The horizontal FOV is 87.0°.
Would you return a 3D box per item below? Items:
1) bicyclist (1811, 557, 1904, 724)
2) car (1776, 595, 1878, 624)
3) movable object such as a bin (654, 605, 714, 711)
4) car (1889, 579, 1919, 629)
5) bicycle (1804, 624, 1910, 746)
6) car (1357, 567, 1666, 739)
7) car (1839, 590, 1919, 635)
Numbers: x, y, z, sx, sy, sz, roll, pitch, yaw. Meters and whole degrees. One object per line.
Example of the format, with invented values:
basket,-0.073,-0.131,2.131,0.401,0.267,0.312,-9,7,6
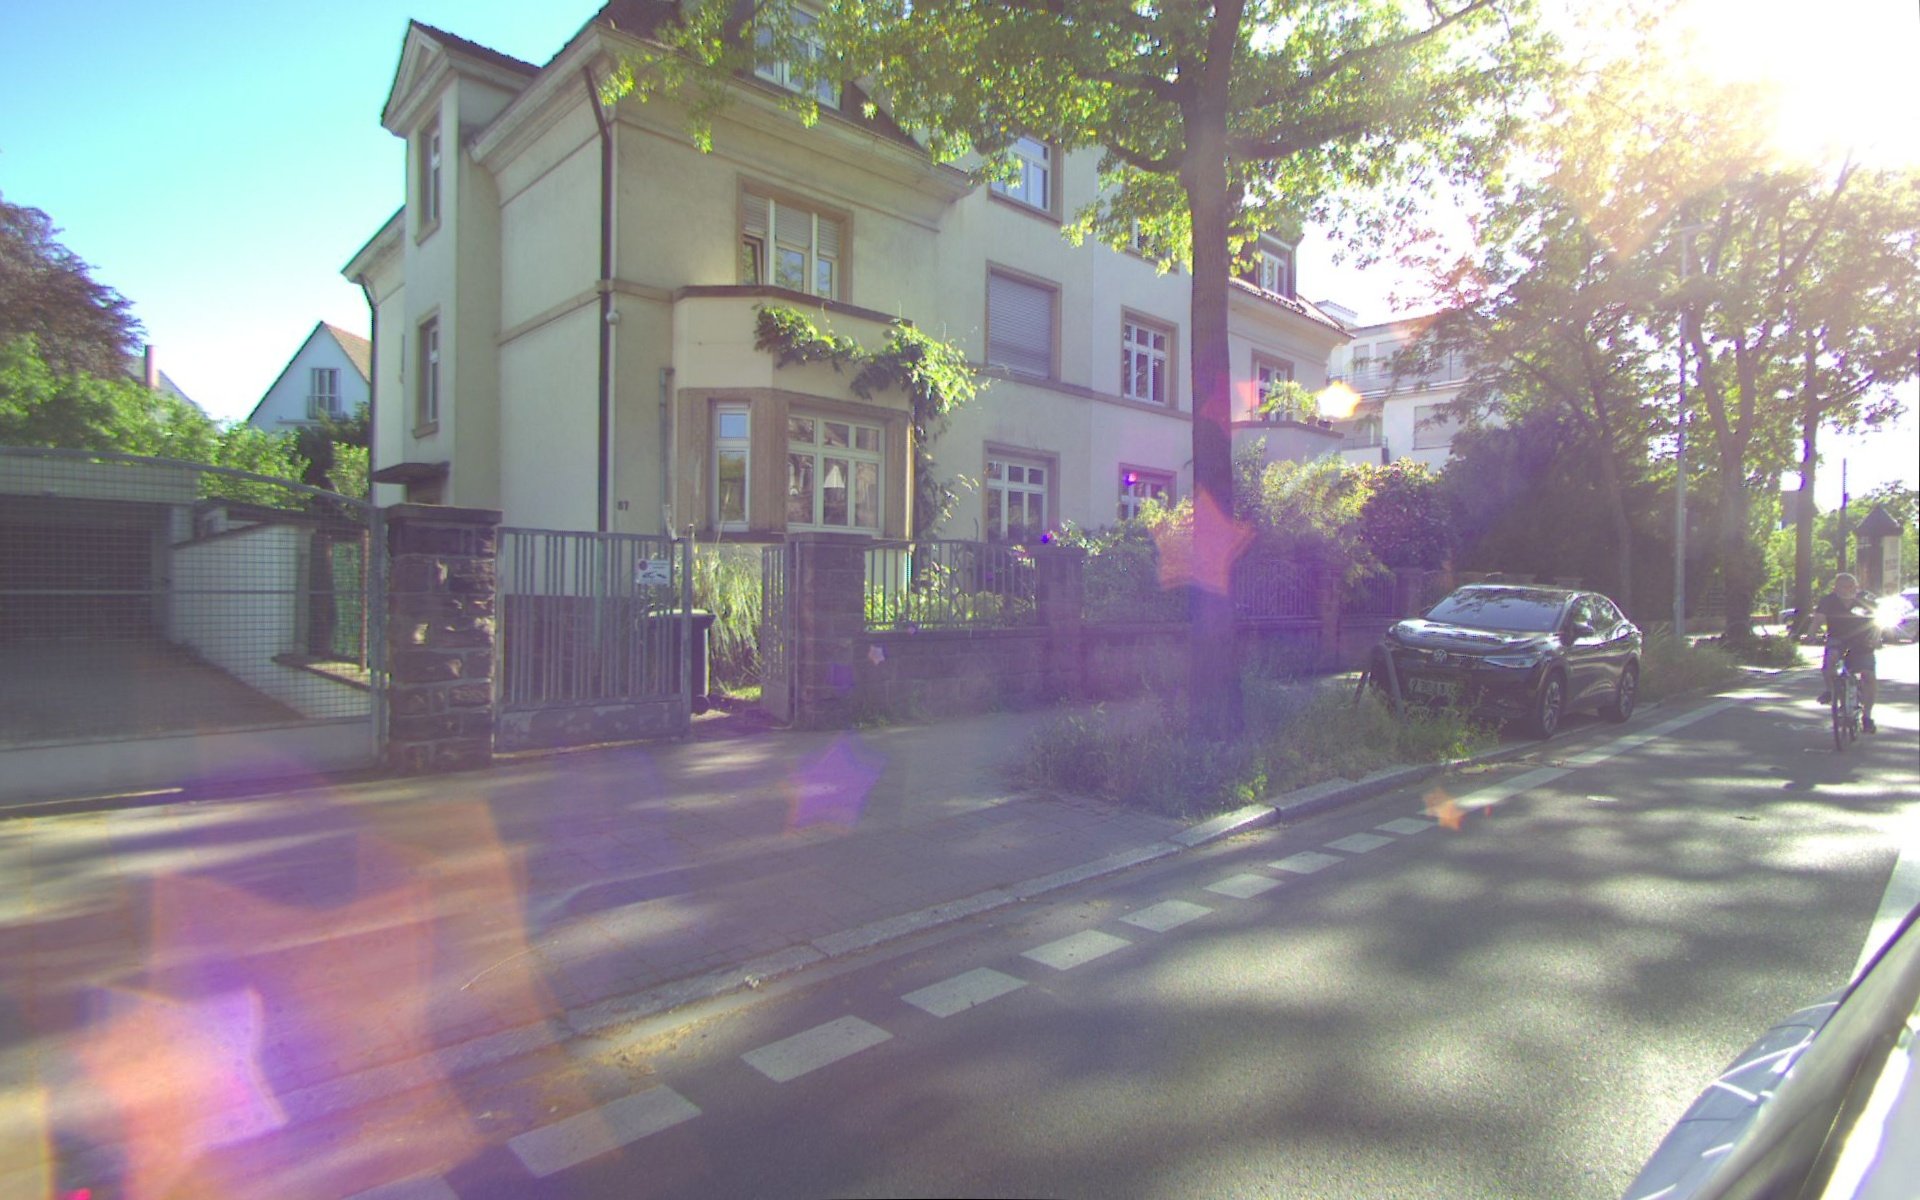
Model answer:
bicyclist,9.358,0.398,10.553,0.654,1.662,0.643,0,0,-41
car,46.074,0.463,53.837,1.784,1.459,3.990,0,1,-44
movable object such as a bin,-2.917,0.587,10.671,0.551,1.062,0.676,0,0,-20
car,36.678,0.133,37.854,4.580,1.808,1.903,0,1,-35
bicycle,9.357,0.833,10.534,1.823,1.125,0.588,0,0,-41
car,6.715,0.498,12.136,4.186,1.619,1.917,0,4,-42
car,31.518,0.386,34.272,4.181,1.427,1.901,0,1,-38
